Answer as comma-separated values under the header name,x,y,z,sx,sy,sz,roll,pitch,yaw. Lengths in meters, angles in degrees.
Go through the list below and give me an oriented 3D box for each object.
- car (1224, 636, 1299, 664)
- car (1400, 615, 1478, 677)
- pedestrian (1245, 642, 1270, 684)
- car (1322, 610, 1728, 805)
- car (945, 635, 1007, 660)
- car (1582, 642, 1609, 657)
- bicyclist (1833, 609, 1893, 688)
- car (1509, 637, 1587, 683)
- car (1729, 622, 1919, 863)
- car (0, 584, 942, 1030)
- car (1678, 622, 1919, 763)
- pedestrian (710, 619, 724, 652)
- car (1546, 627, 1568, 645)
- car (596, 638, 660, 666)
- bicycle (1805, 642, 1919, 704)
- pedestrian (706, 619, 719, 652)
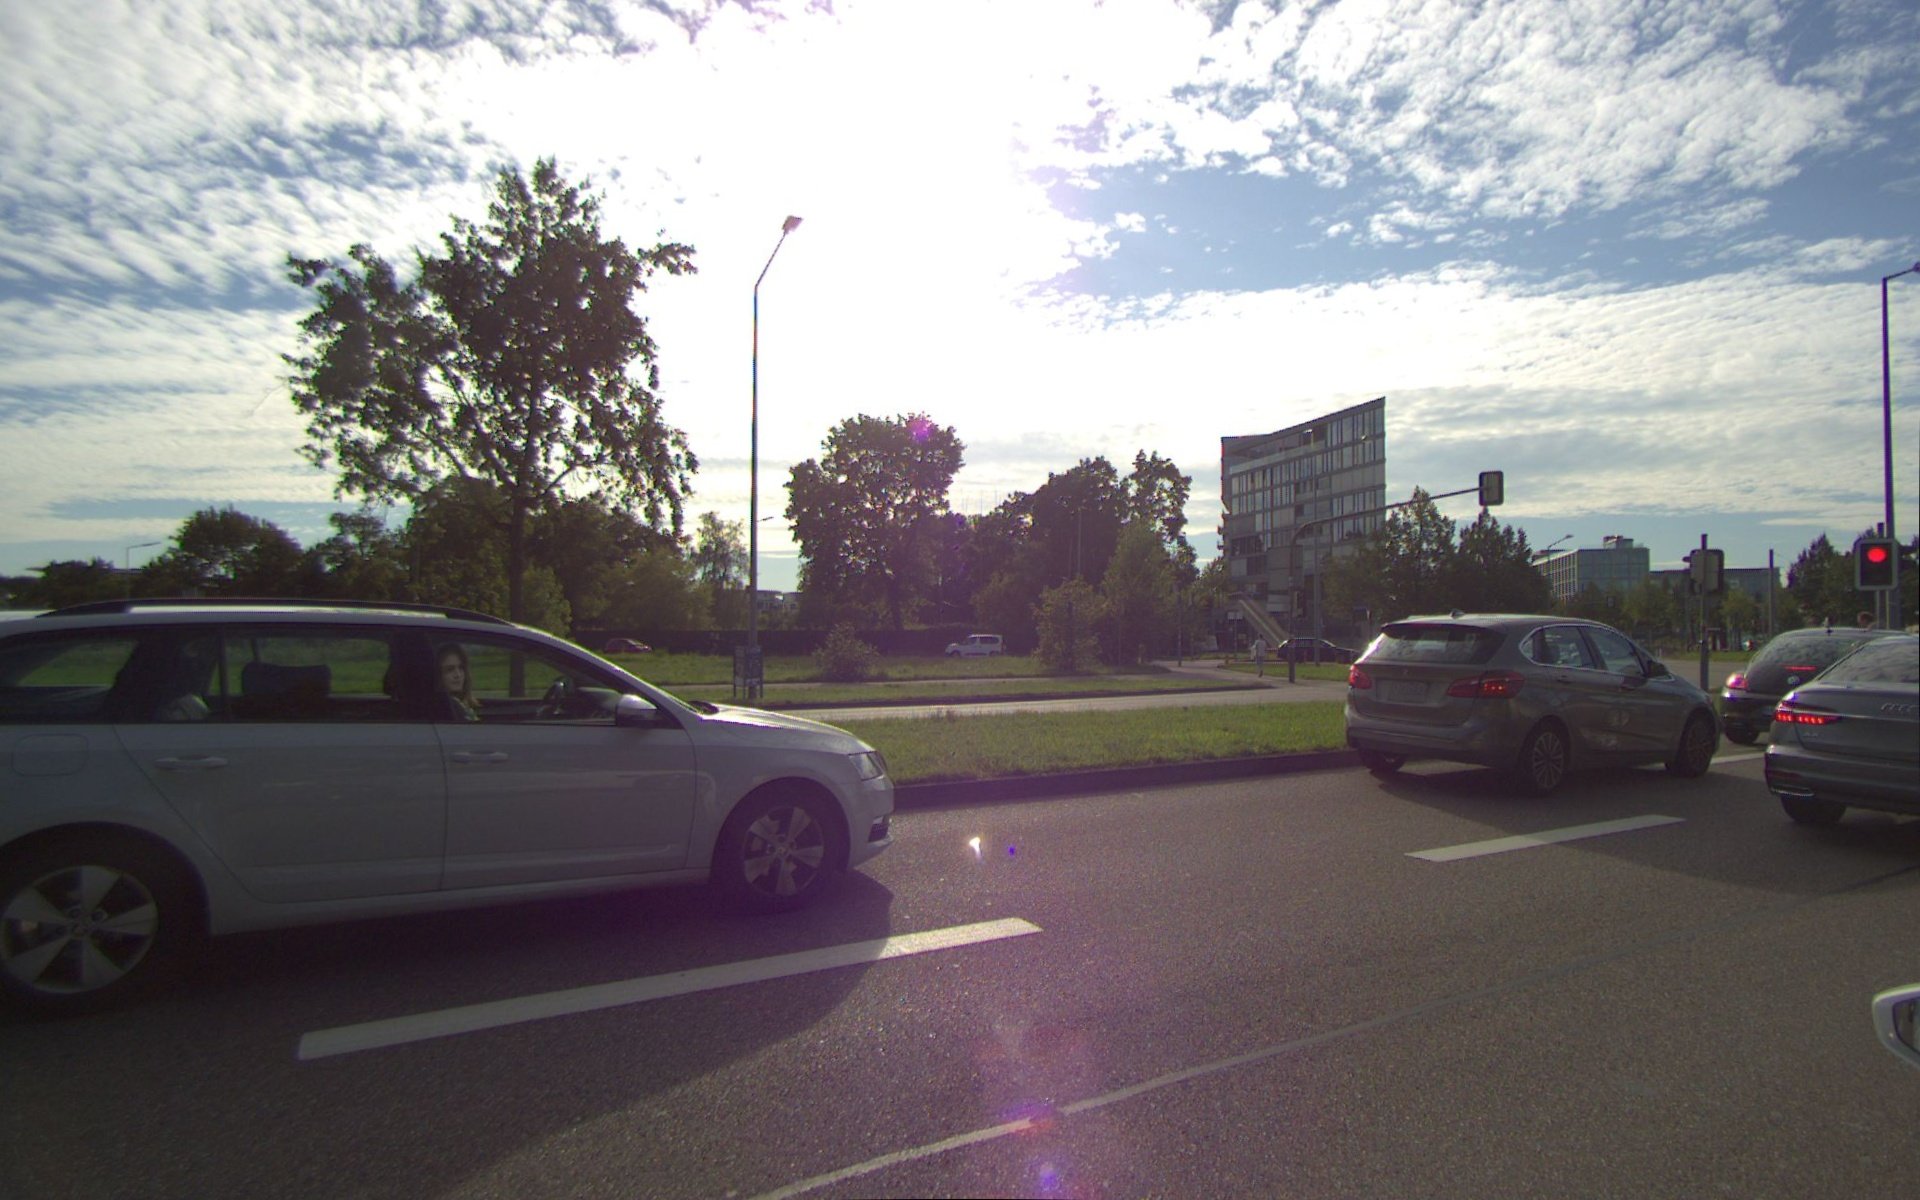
name,x,y,z,sx,sy,sz,roll,pitch,yaw
car,17.377,2.846,57.940,3.863,1.572,1.757,-1,-3,29
car,18.816,1.830,39.323,1.966,2.264,5.910,-3,-4,33
pedestrian,11.358,2.410,38.348,0.609,1.589,0.651,2,-2,-34
car,5.619,0.921,9.897,3.971,1.579,1.721,1,-1,-30
car,1.140,3.336,70.788,4.045,1.770,2.002,0,-2,10
car,64.645,5.040,102.229,1.589,1.484,3.731,-1,-2,21
bicyclist,18.097,0.970,20.136,0.840,1.546,0.736,-2,-3,44
car,19.669,2.027,33.542,1.876,1.428,4.194,-3,-5,35
car,7.976,0.969,7.593,4.559,1.502,1.881,2,-1,-31
car,-2.431,0.755,4.900,4.429,1.518,1.690,2,-1,-31
car,11.024,1.083,12.823,3.766,1.543,1.672,1,-1,-31
pedestrian,-15.234,2.216,62.892,0.723,2.040,0.739,0,-2,-6
car,55.211,3.330,92.936,1.570,1.433,3.662,-3,-6,33
car,-23.737,3.701,71.858,3.919,1.793,1.712,2,-1,13
bicycle,18.082,1.432,20.136,1.707,1.179,0.652,-1,-3,45
pedestrian,-15.310,2.189,62.062,0.675,2.040,0.641,0,-2,-5
